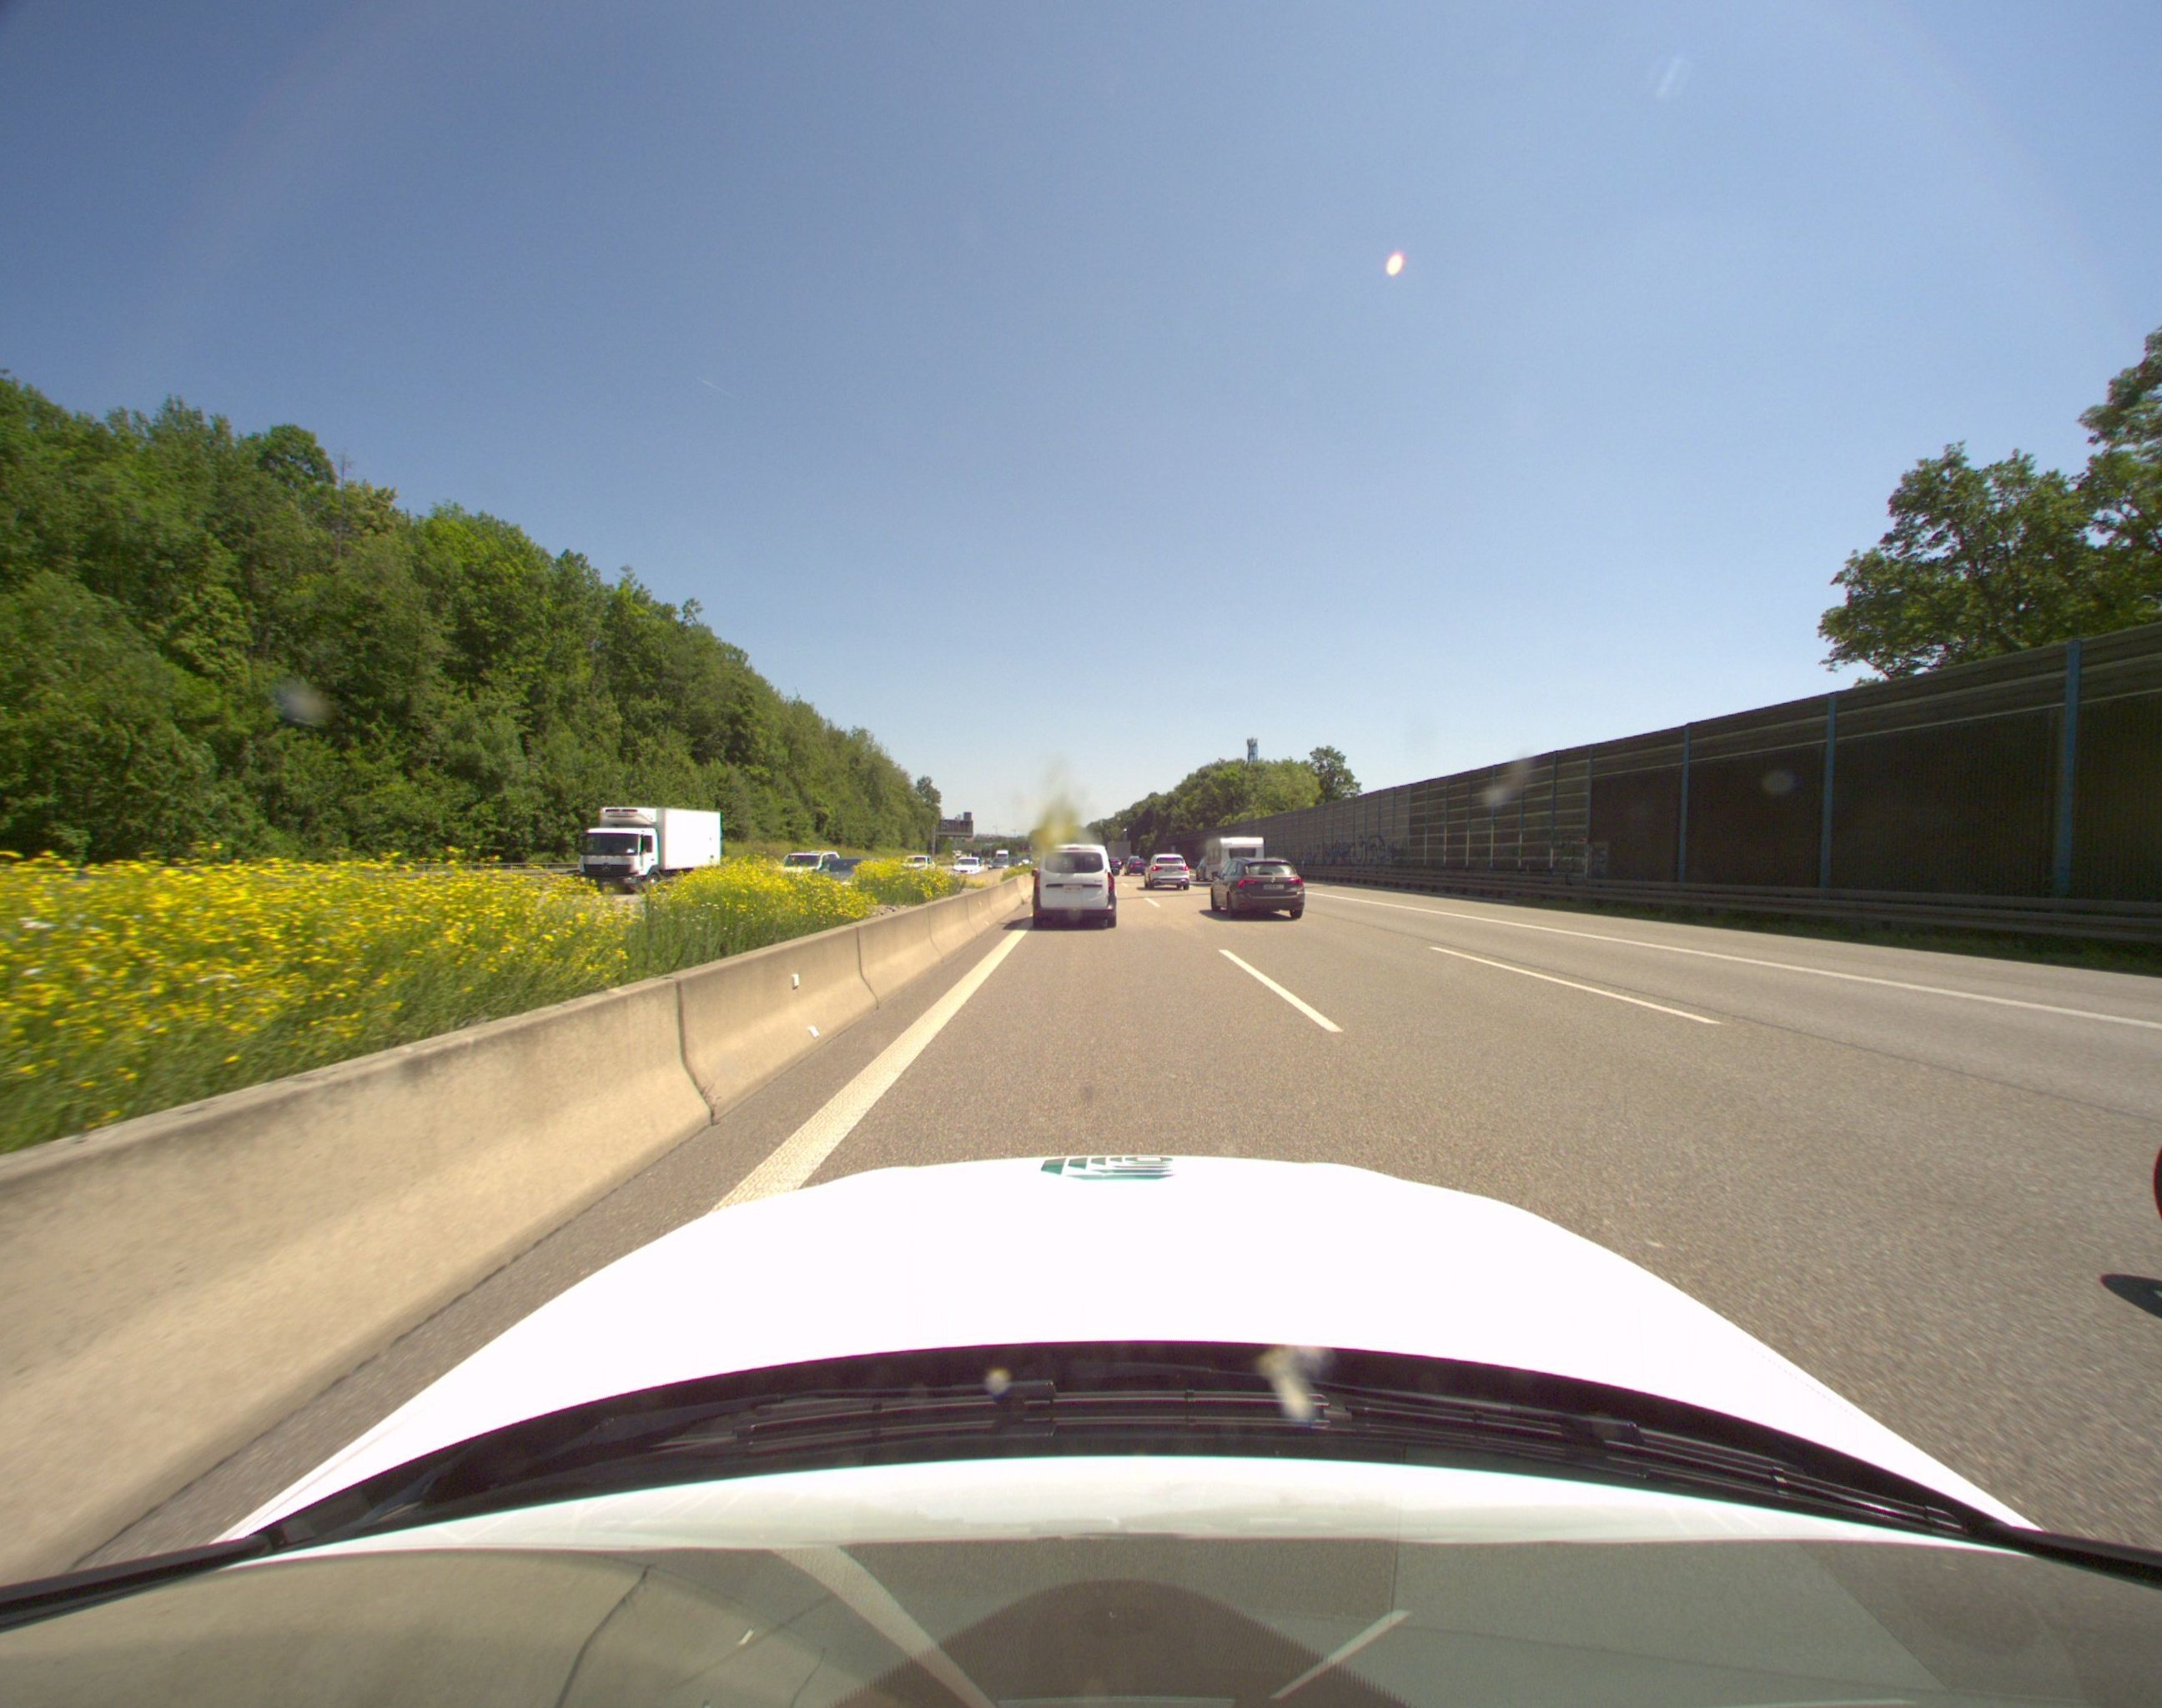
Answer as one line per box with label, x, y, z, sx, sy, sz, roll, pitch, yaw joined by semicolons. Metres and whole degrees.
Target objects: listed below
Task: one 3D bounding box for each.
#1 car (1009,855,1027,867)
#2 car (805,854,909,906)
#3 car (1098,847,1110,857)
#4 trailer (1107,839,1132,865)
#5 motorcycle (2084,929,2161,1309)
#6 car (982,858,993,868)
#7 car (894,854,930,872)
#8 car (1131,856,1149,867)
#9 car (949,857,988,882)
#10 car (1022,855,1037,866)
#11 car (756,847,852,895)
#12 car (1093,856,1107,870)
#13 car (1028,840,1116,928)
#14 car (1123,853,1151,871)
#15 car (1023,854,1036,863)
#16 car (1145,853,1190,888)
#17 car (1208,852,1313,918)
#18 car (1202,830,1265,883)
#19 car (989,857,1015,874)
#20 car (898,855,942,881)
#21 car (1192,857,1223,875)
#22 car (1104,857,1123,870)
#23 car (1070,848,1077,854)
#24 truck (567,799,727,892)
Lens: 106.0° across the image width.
car;-7.356;0.827;95.399;1.659;1.428;3.857;0;0;1
car;-6.454;0.702;23.955;1.799;1.419;4.079;0;0;2
car;4.651;-0.413;165.484;1.989;2.014;3.996;0;0;-3
trailer;6.209;-0.330;131.915;3.075;3.985;10.312;0;0;-3
motorcycle;3.815;0.853;1.636;0.856;1.182;2.277;0;0;2
car;-19.114;1.866;166.118;1.988;2.013;3.997;0;0;-2
car;-14.460;0.787;69.992;1.986;1.481;4.691;-1;0;1
car;7.661;0.927;105.891;1.820;1.424;3.996;0;0;-3
car;-6.698;0.884;48.788;1.626;1.428;4.038;-1;0;2
car;-7.184;0.891;113.645;1.798;1.527;4.256;0;0;1
car;-10.549;0.611;31.395;1.986;1.701;4.532;0;0;2
car;2.754;1.298;118.635;1.820;1.989;3.996;-1;0;-3
car;-0.129;0.621;18.811;1.796;1.808;4.001;-1;0;1
car;4.456;0.652;65.168;1.820;1.424;3.996;0;0;-3
car;-8.538;0.742;136.205;1.869;1.410;4.411;0;0;0
car;4.113;0.754;39.196;1.864;1.608;3.880;0;0;1
car;4.467;0.712;20.919;1.831;1.513;4.403;0;0;1
car;8.488;0.131;45.846;2.470;2.766;6.220;0;0;1
car;-6.612;0.950;68.437;1.726;1.405;4.610;-1;0;0
car;-10.057;0.860;51.108;1.835;1.546;4.002;-1;0;2
car;10.079;0.933;65.333;1.818;1.424;3.998;0;0;-1
car;3.707;1.095;93.638;1.820;1.424;3.996;0;0;-3
car;-2.167;-0.991;246.288;1.989;1.728;3.995;0;0;-3
truck;-17.773;-0.305;34.032;2.726;3.475;7.314;0;0;0
